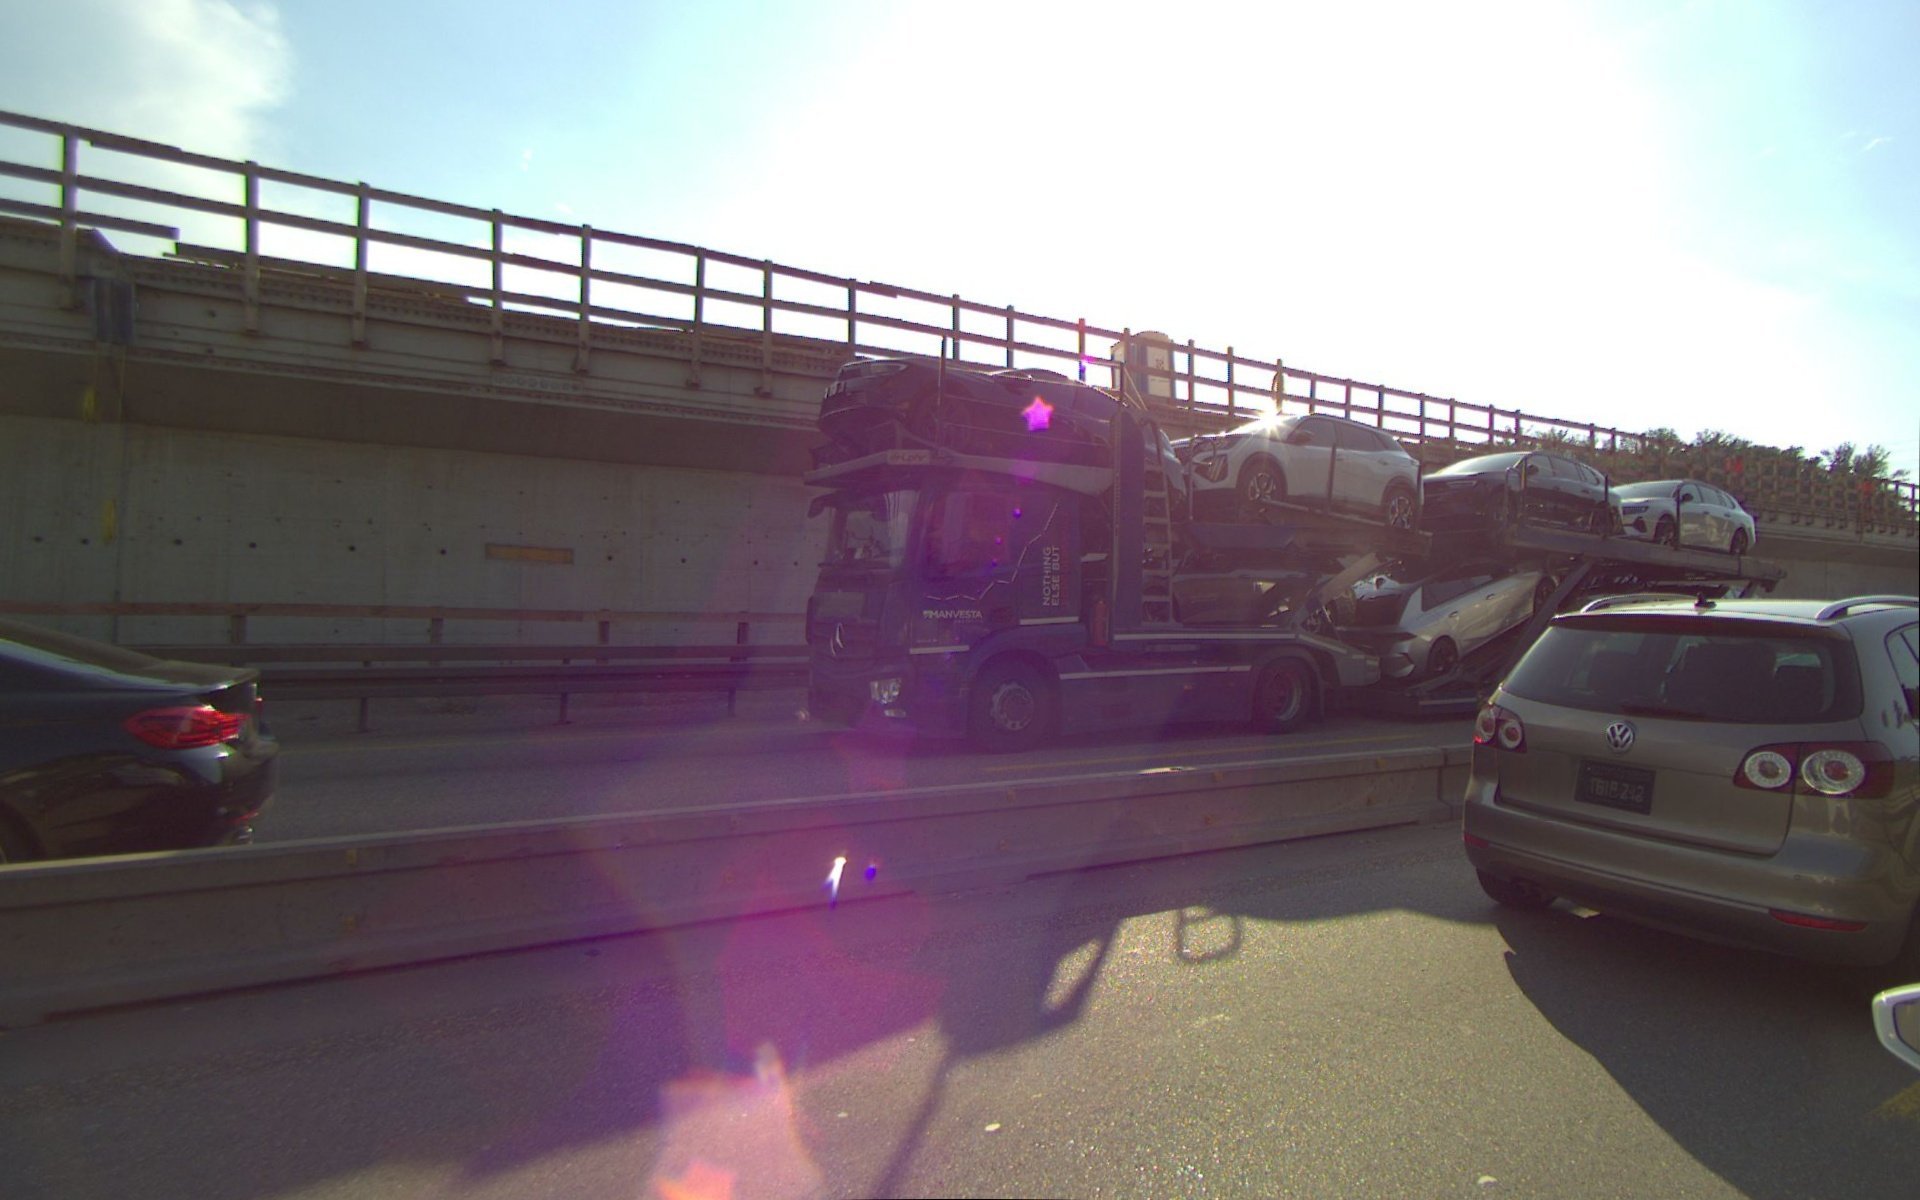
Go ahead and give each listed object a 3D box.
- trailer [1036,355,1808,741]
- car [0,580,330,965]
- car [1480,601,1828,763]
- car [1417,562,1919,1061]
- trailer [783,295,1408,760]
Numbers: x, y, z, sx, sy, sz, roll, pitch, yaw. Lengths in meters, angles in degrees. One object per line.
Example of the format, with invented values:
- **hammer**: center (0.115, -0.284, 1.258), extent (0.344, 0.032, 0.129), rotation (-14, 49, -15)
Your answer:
- **trailer**: center (8.394, -0.382, 15.870), extent (15.583, 4.084, 2.757), rotation (2, 0, -31)
- **car**: center (-5.198, 0.618, 3.903), extent (4.546, 1.464, 1.701), rotation (2, 0, -30)
- **car**: center (8.297, 0.876, 11.927), extent (4.288, 1.599, 1.748), rotation (2, 0, -31)
- **car**: center (4.370, 0.749, 5.056), extent (4.223, 1.609, 1.672), rotation (2, -1, -31)
- **trailer**: center (1.802, -0.567, 11.877), extent (7.125, 4.084, 2.757), rotation (2, 0, -31)
